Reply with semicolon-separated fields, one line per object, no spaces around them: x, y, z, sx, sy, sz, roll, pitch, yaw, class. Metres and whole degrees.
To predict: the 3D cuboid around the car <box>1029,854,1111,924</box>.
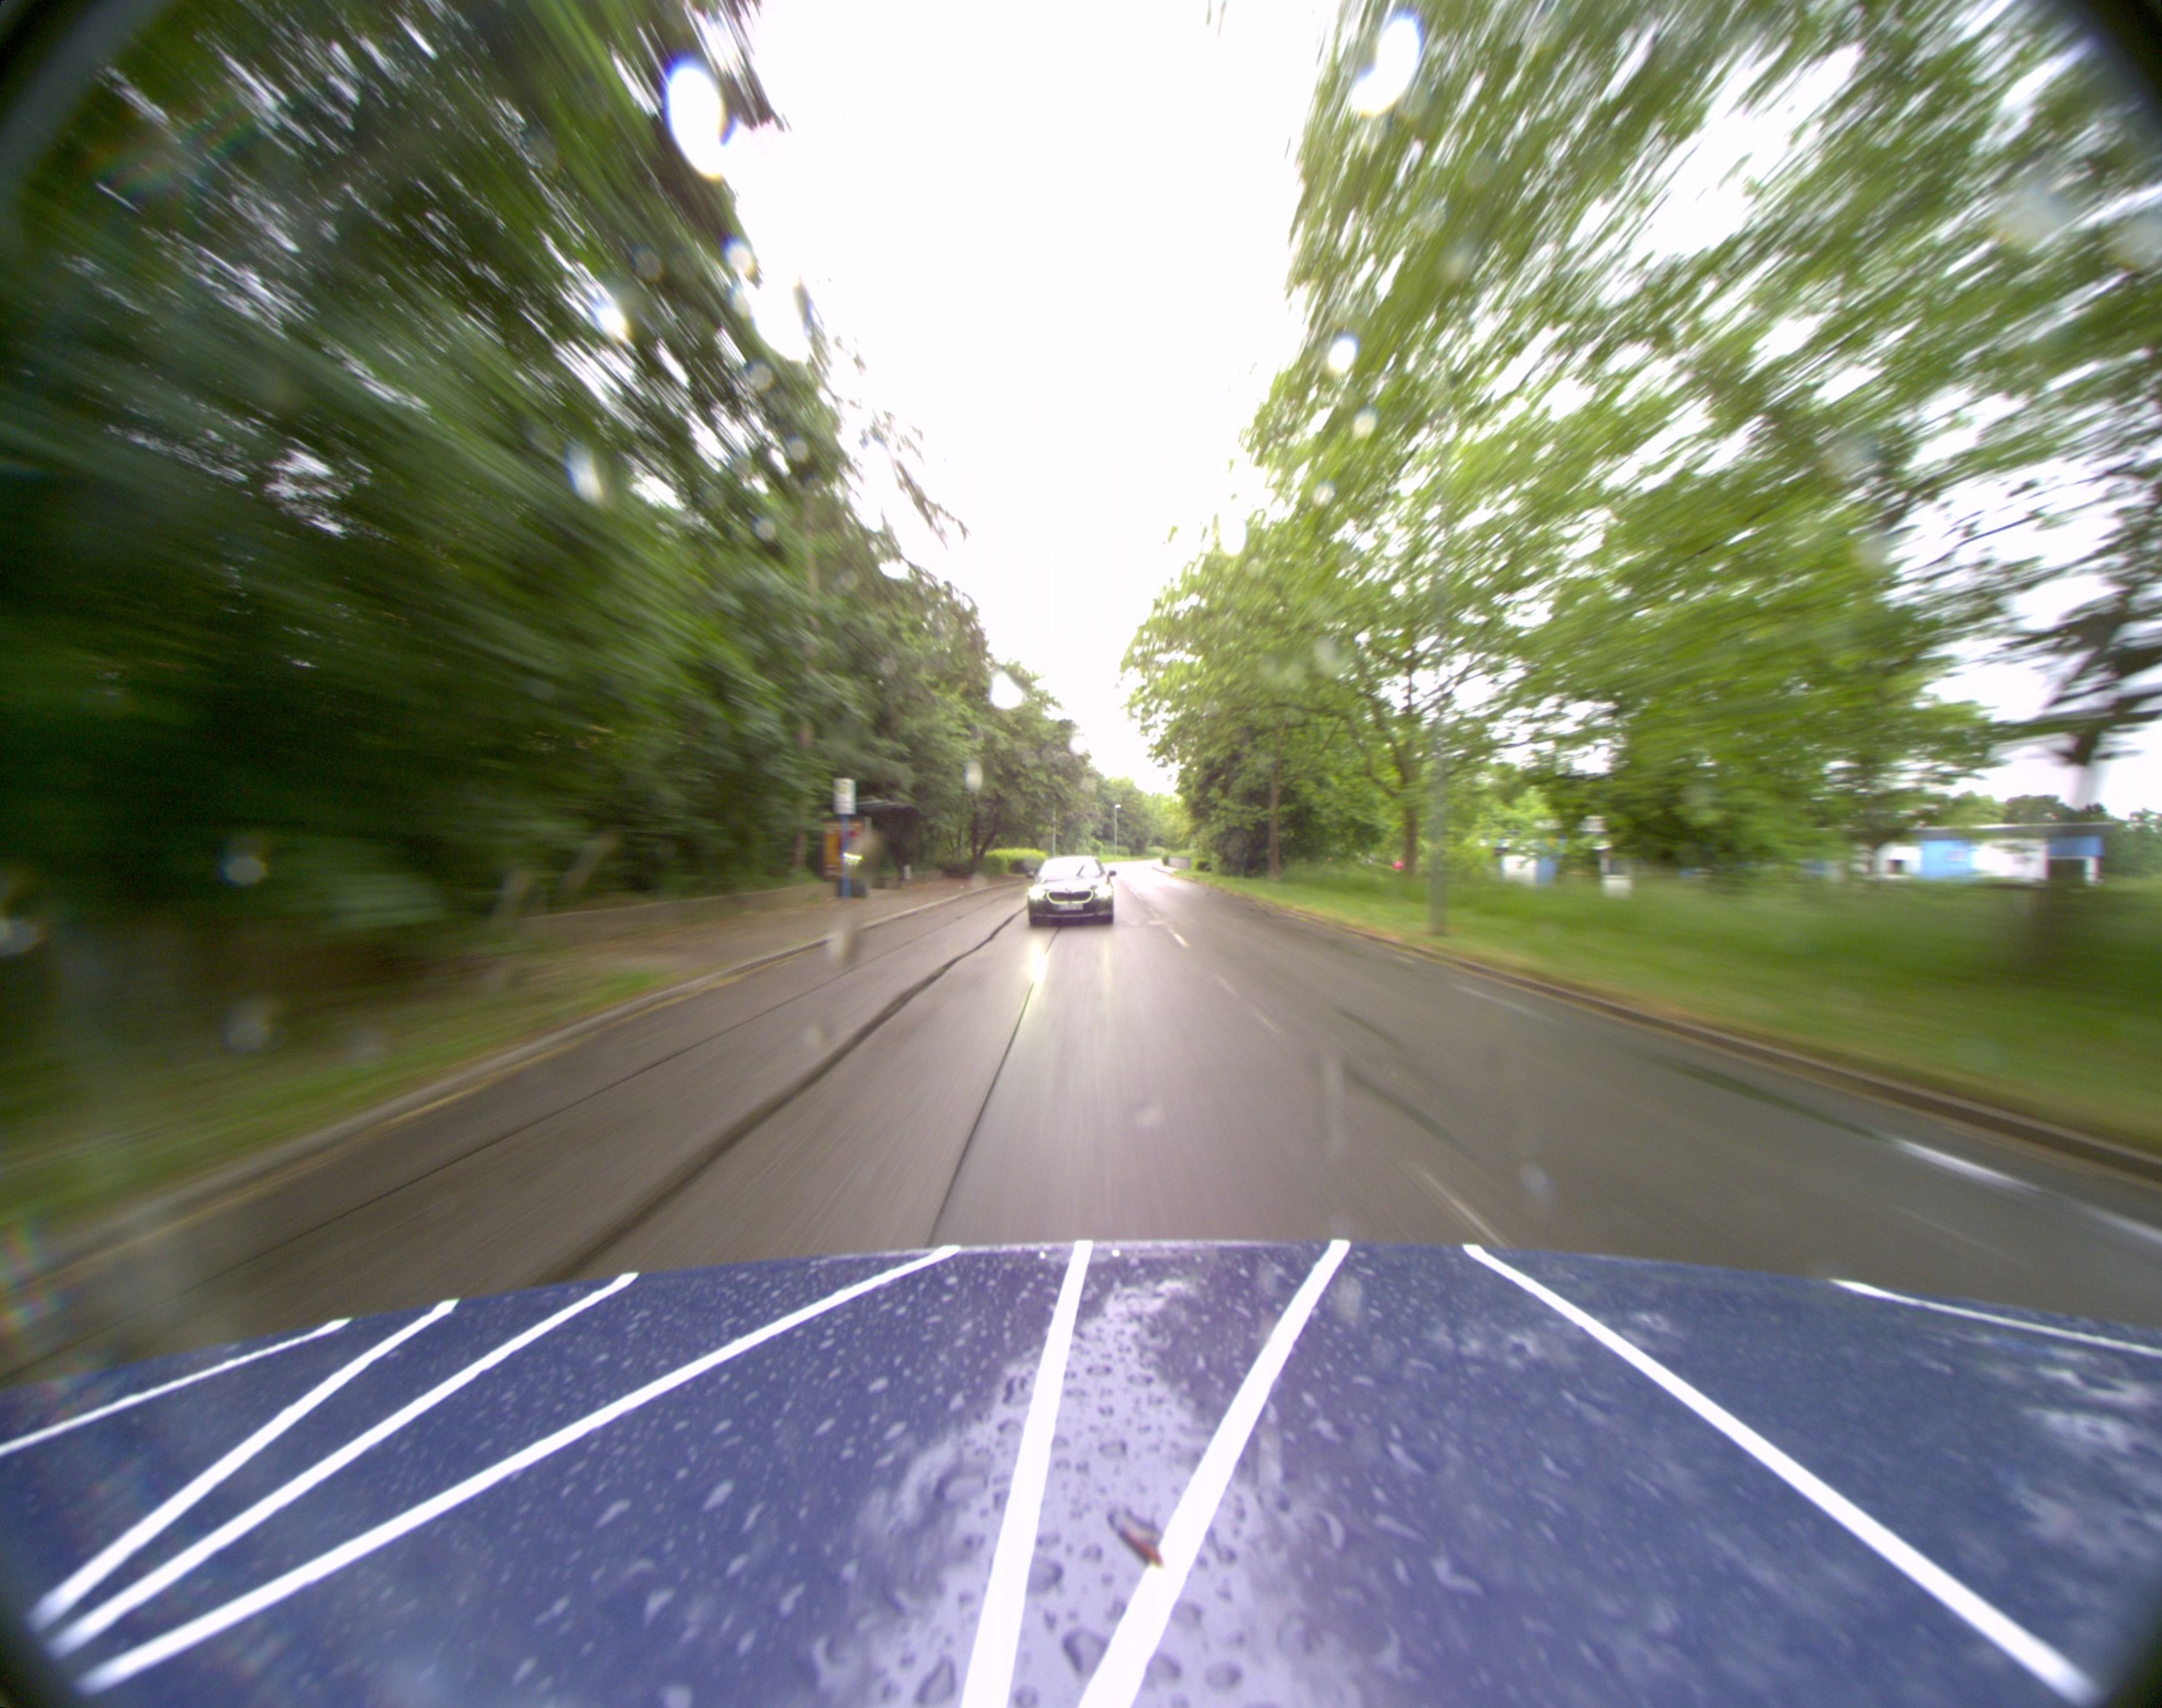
-0.179;0.802;19.571;1.832;1.499;4.498;-2;1;2;car
